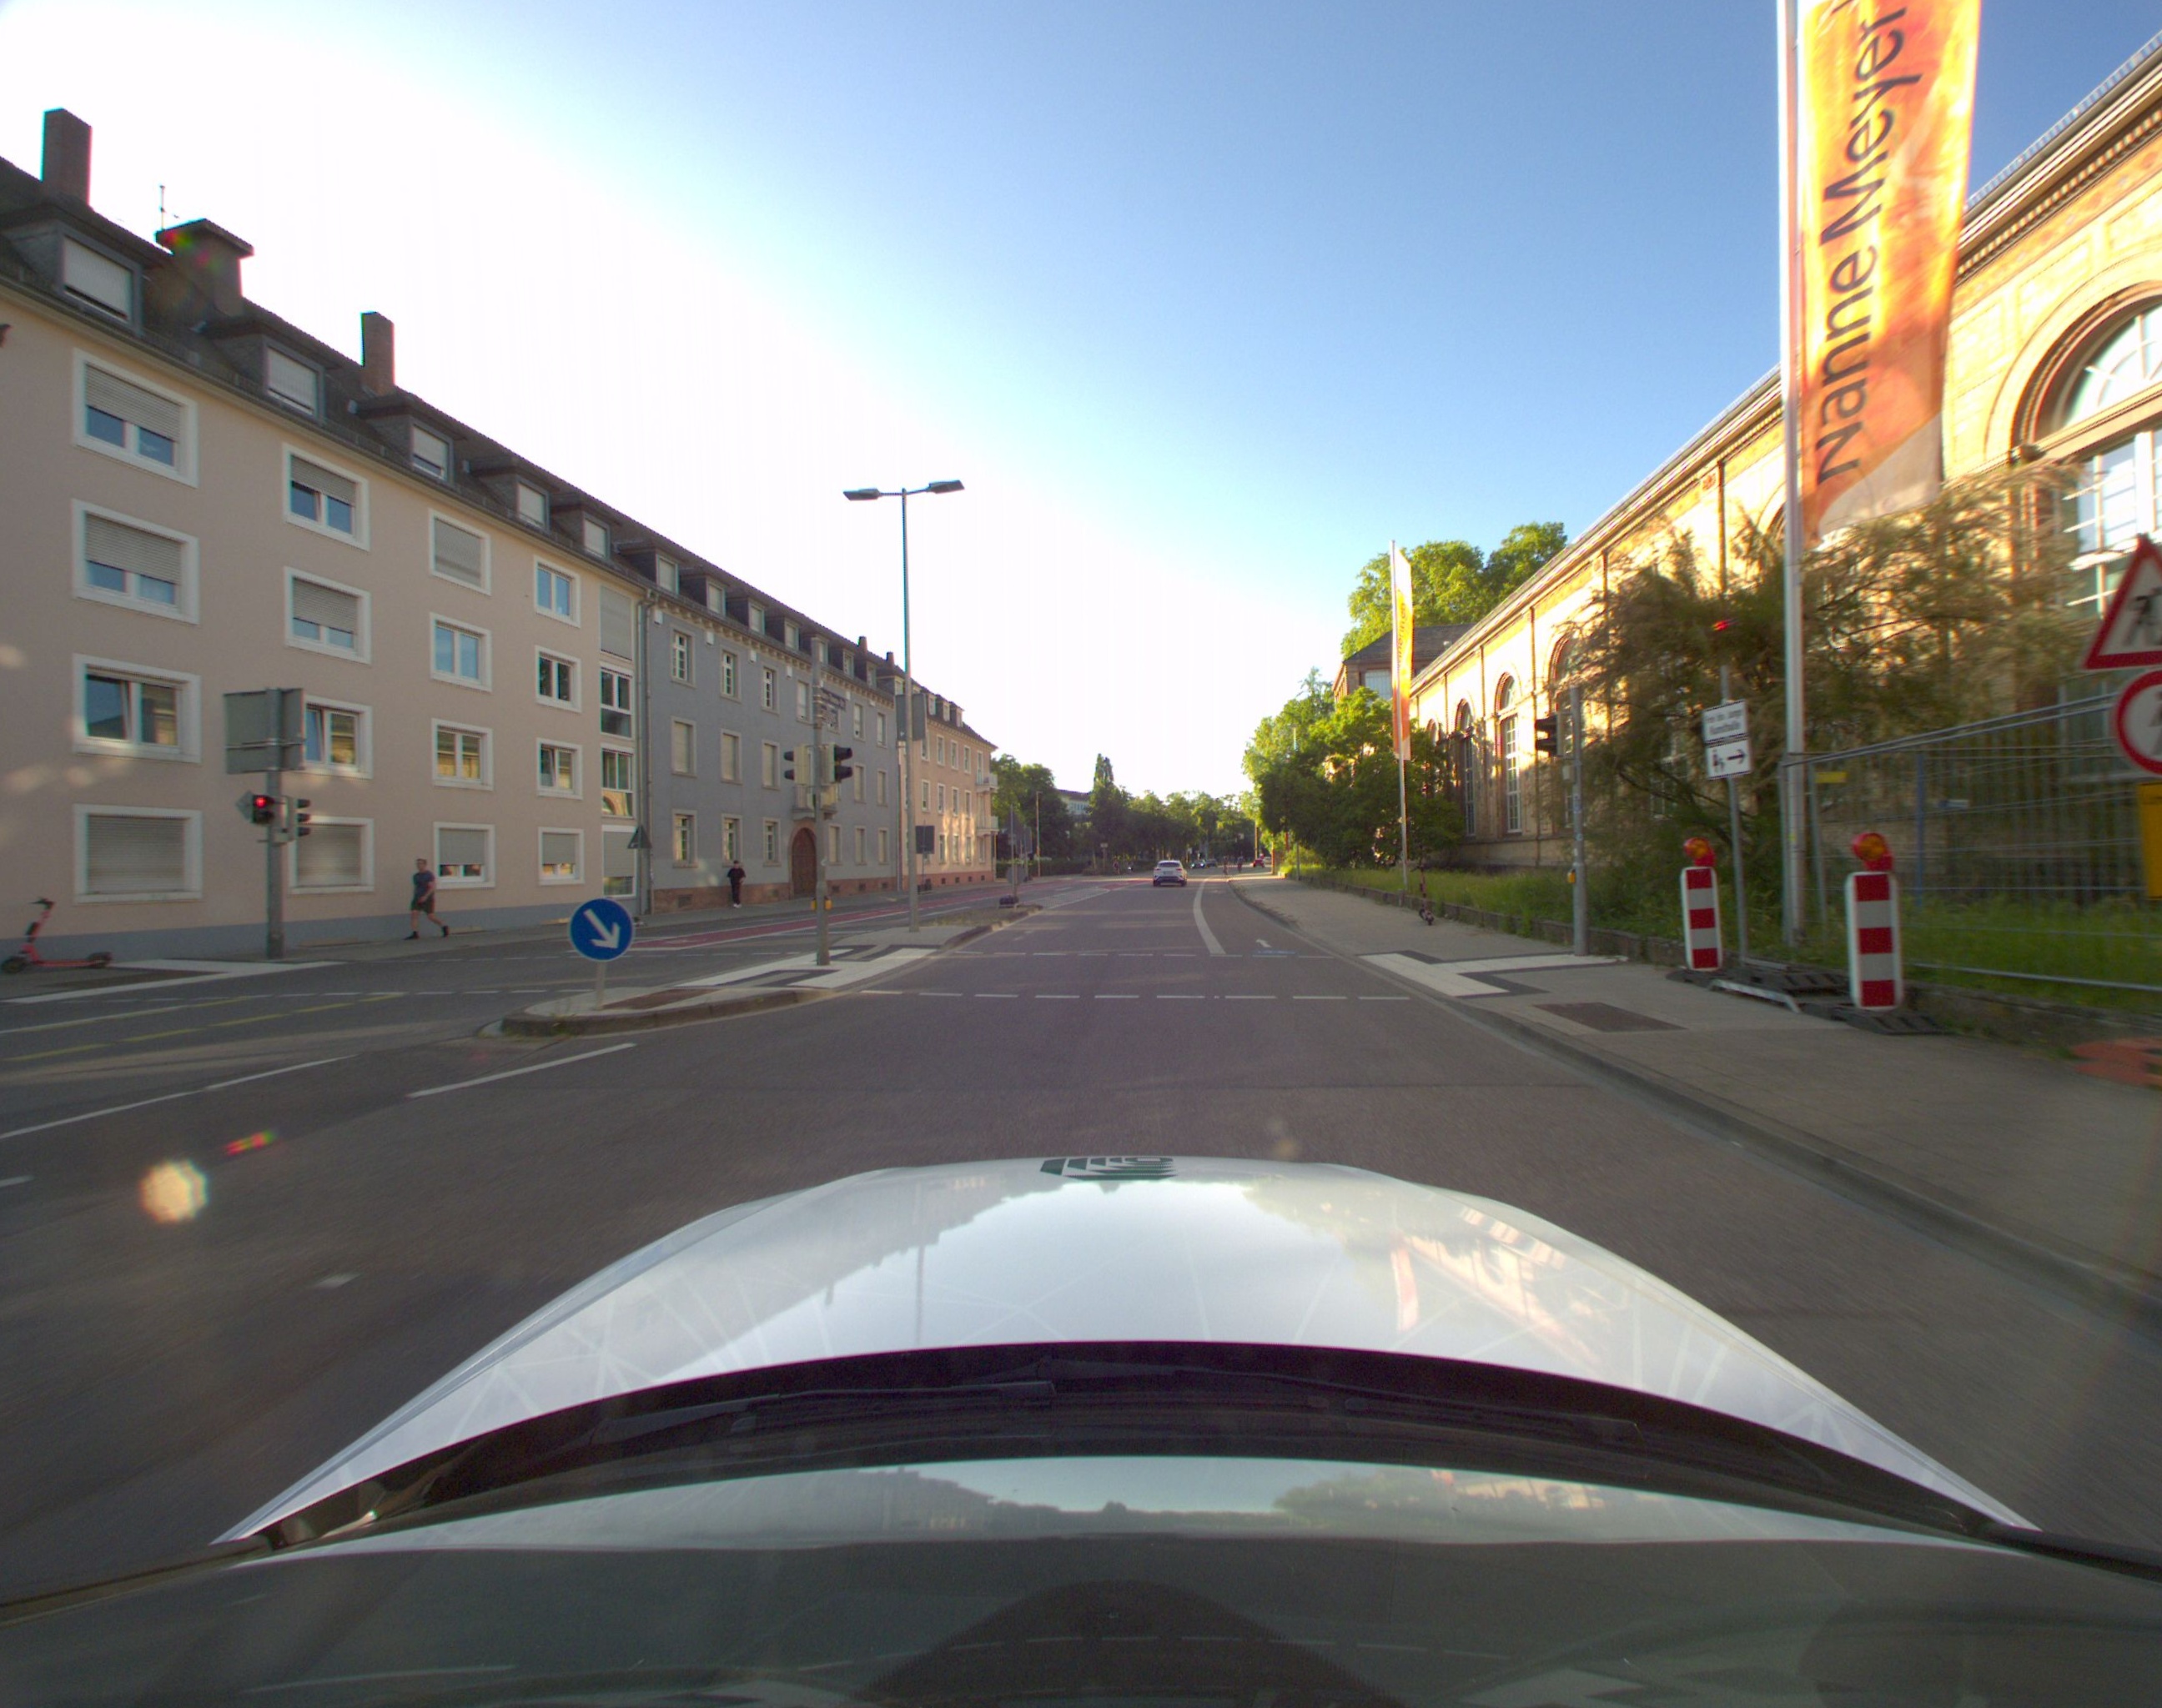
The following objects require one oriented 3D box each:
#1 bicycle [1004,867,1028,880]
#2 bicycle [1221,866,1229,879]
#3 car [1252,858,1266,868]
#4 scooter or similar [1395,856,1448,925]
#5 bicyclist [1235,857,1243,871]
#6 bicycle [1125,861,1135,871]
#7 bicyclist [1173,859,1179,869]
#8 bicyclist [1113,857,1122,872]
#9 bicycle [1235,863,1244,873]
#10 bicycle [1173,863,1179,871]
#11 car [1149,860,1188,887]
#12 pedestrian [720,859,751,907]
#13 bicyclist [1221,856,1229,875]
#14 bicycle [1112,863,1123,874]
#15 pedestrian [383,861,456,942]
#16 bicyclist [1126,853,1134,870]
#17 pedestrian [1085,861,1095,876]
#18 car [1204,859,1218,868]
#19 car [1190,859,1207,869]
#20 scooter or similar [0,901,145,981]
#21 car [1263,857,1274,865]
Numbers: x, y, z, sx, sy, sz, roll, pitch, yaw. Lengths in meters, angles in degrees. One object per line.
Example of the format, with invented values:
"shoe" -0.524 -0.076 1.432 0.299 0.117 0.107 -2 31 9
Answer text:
"bicycle" -6.506 1.913 81.579 2.302 1.230 0.562 -2 -1 16
"bicycle" 12.227 1.577 68.984 0.639 1.025 2.219 0 0 11
"car" 30.105 1.528 137.565 1.914 1.533 4.018 -2 -1 17
"scooter or similar" 7.009 0.719 16.835 0.552 1.308 1.836 -2 0 9
"bicyclist" 17.983 1.141 92.455 0.741 1.537 0.974 -1 -1 17
"bicycle" 5.147 1.208 85.495 0.642 0.996 2.116 -3 -1 11
"bicyclist" 15.074 1.534 129.244 0.624 1.522 0.727 -5 -1 14
"bicyclist" 3.842 1.113 86.277 0.732 1.485 0.667 -4 -1 14
"bicycle" 17.986 1.580 92.423 0.747 1.026 1.877 -1 -1 17
"bicycle" 15.106 2.049 129.199 0.592 1.120 2.035 -5 -1 15
"car" 5.175 1.099 47.816 1.982 1.453 4.010 -2 -1 9
"pedestrian" -13.751 1.129 32.418 0.627 1.846 1.016 1 0 9
"bicyclist" 12.257 0.994 69.149 0.632 1.614 1.288 -1 0 12
"bicycle" 3.860 1.510 86.247 0.732 0.995 2.117 -3 0 13
"pedestrian" -15.834 1.111 19.529 0.862 1.863 1.018 1 0 10
"bicyclist" 5.159 0.745 85.603 0.631 1.710 0.741 -5 -1 11
"pedestrian" 1.118 1.760 101.749 0.849 1.851 1.005 -2 -1 15
"car" 22.817 1.664 142.686 1.744 1.459 4.019 -2 0 19
"car" 18.053 1.571 124.815 1.798 1.419 4.574 -2 0 16
"scooter or similar" -17.047 1.440 13.800 0.530 1.185 1.478 -1 0 10
"car" 38.311 1.355 166.308 1.723 1.546 4.019 -2 0 18
